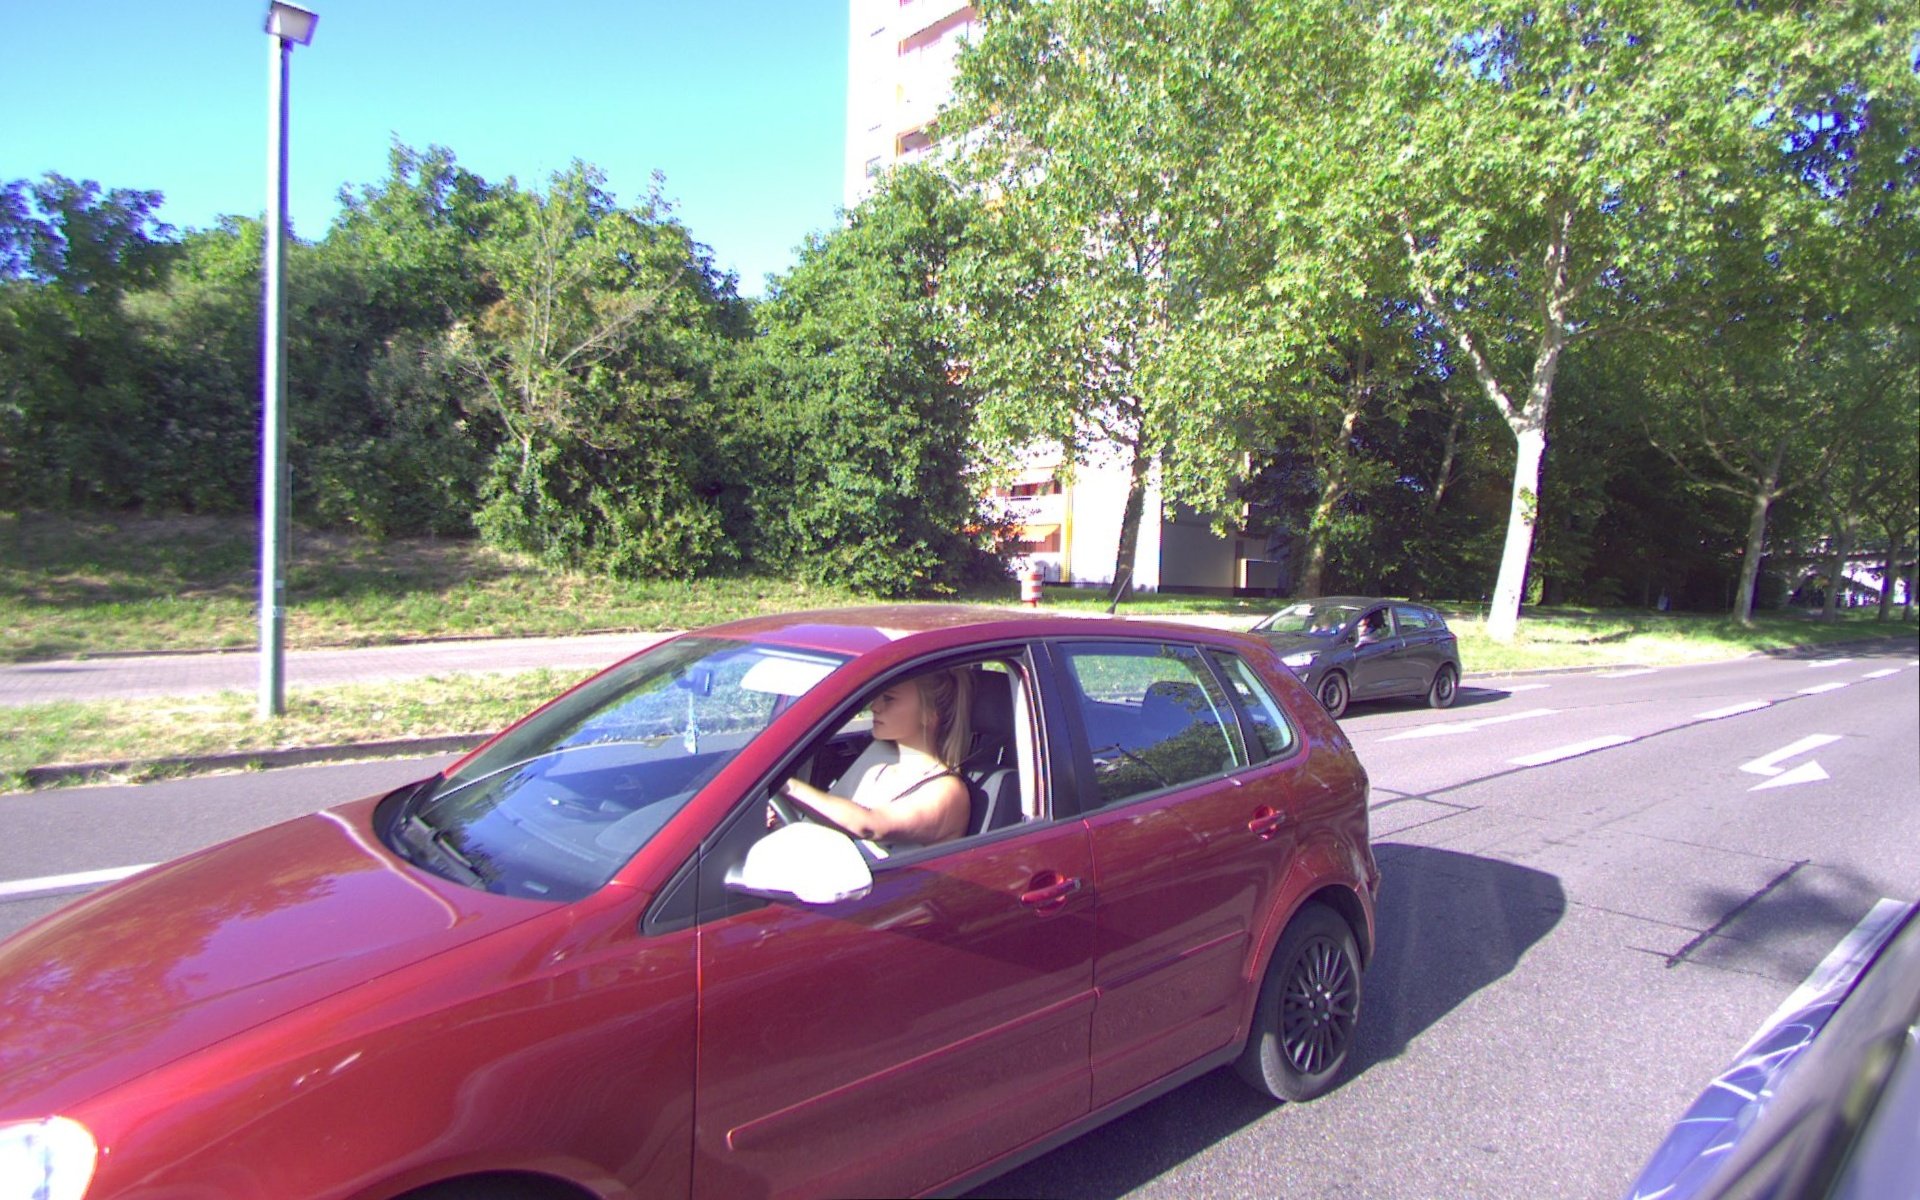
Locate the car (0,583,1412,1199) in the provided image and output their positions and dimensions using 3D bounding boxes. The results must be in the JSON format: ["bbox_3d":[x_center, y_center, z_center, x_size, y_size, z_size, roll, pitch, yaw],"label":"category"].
[{"bbox_3d":[-0.469,0.694,2.753,3.627,1.434,1.626,0,1,-39],"label":"car"}]

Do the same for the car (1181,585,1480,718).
[{"bbox_3d":[4.918,0.577,13.299,3.817,1.487,1.752,0,1,-33],"label":"car"}]
